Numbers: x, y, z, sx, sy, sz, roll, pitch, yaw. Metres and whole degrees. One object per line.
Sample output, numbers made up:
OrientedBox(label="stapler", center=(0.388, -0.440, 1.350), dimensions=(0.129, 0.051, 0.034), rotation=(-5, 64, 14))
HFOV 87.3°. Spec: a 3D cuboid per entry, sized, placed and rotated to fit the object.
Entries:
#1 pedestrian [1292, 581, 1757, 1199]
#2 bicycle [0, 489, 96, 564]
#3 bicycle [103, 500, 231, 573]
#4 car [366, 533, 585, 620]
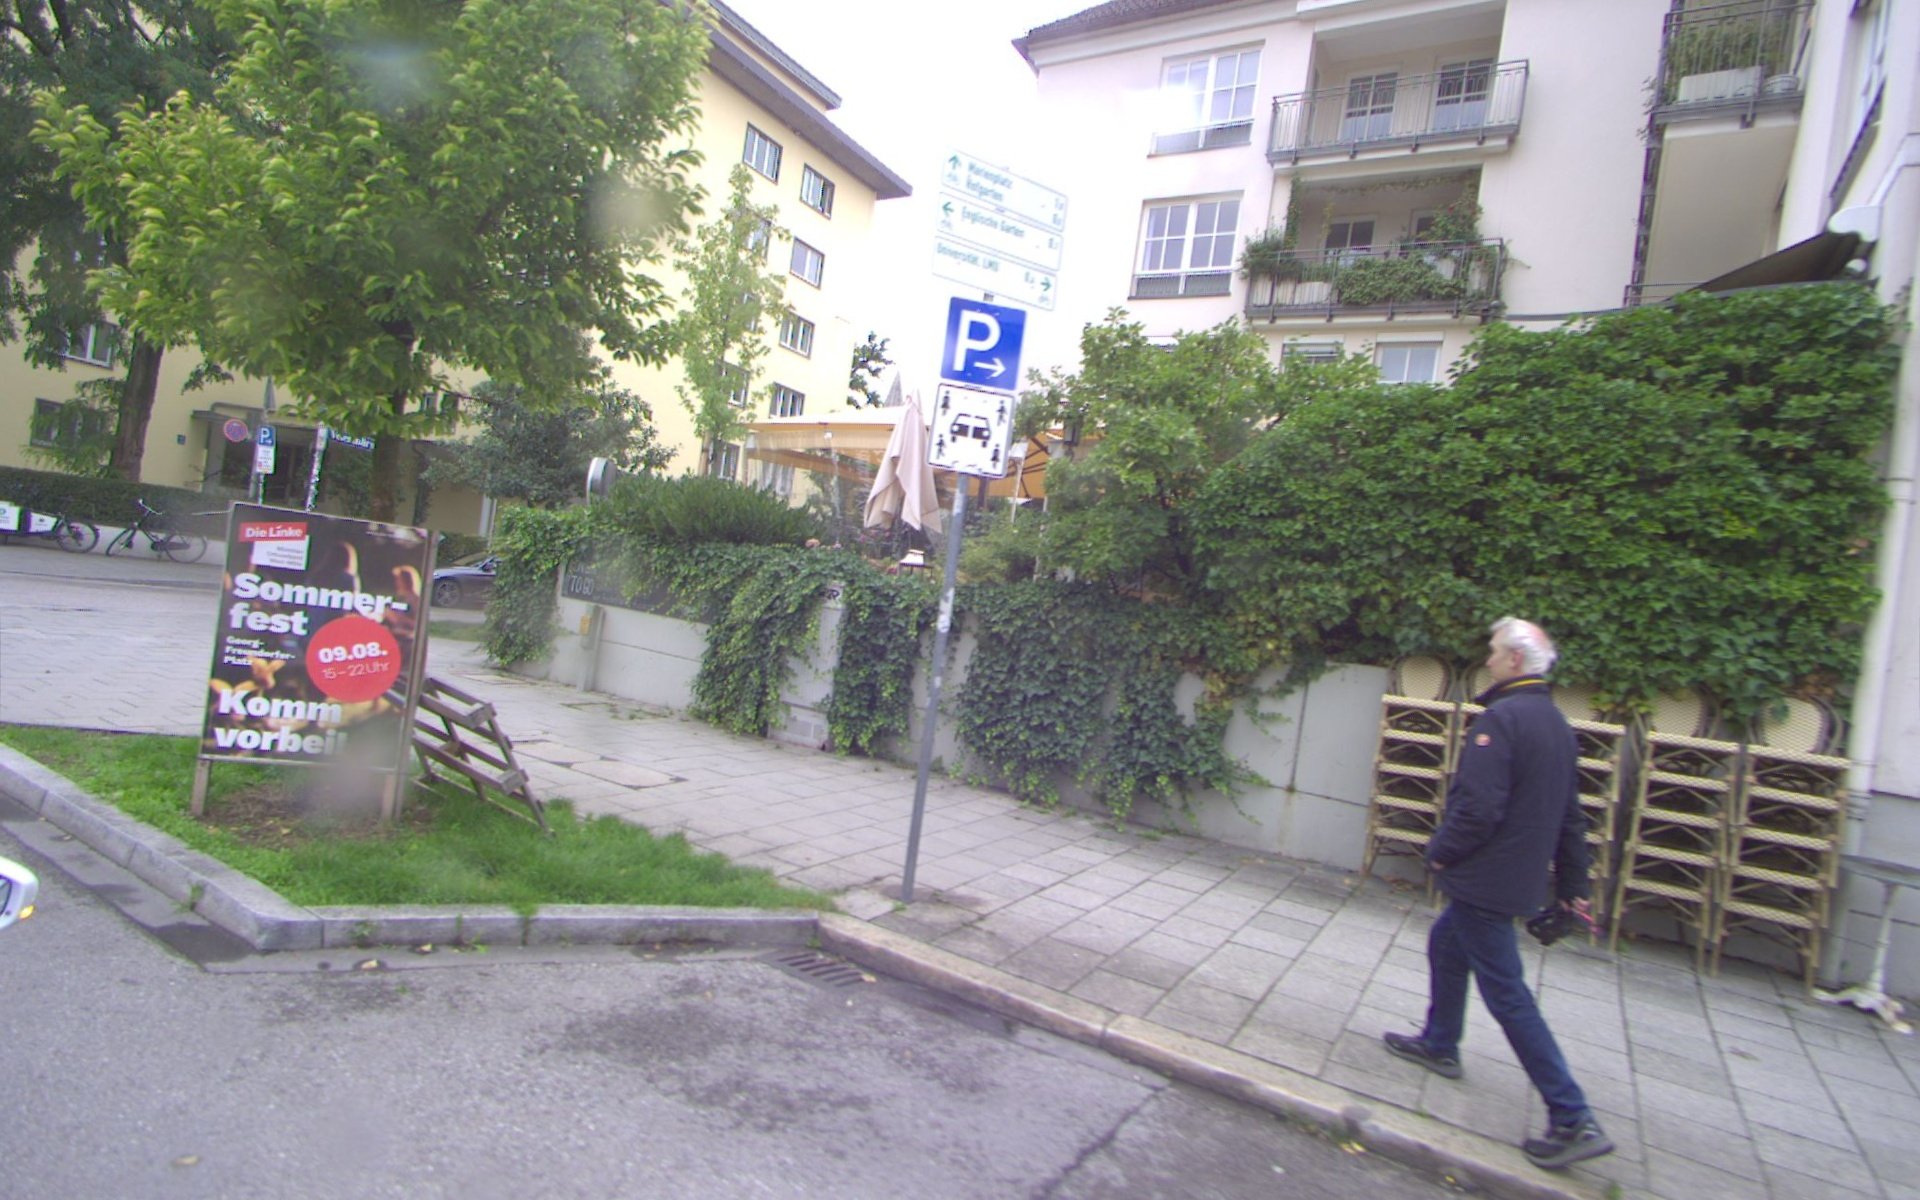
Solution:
OrientedBox(label="pedestrian", center=(2.015, 0.918, 3.670), dimensions=(0.925, 1.825, 0.948), rotation=(5, 3, -33))
OrientedBox(label="bicycle", center=(-18.155, -1.471, 19.429), dimensions=(2.057, 1.216, 0.589), rotation=(9, 0, -36))
OrientedBox(label="bicycle", center=(-16.658, -1.320, 21.172), dimensions=(0.586, 1.216, 1.923), rotation=(9, 0, 36))
OrientedBox(label="car", center=(-11.182, -0.482, 23.500), dimensions=(1.670, 1.463, 4.249), rotation=(7, -1, 34))
